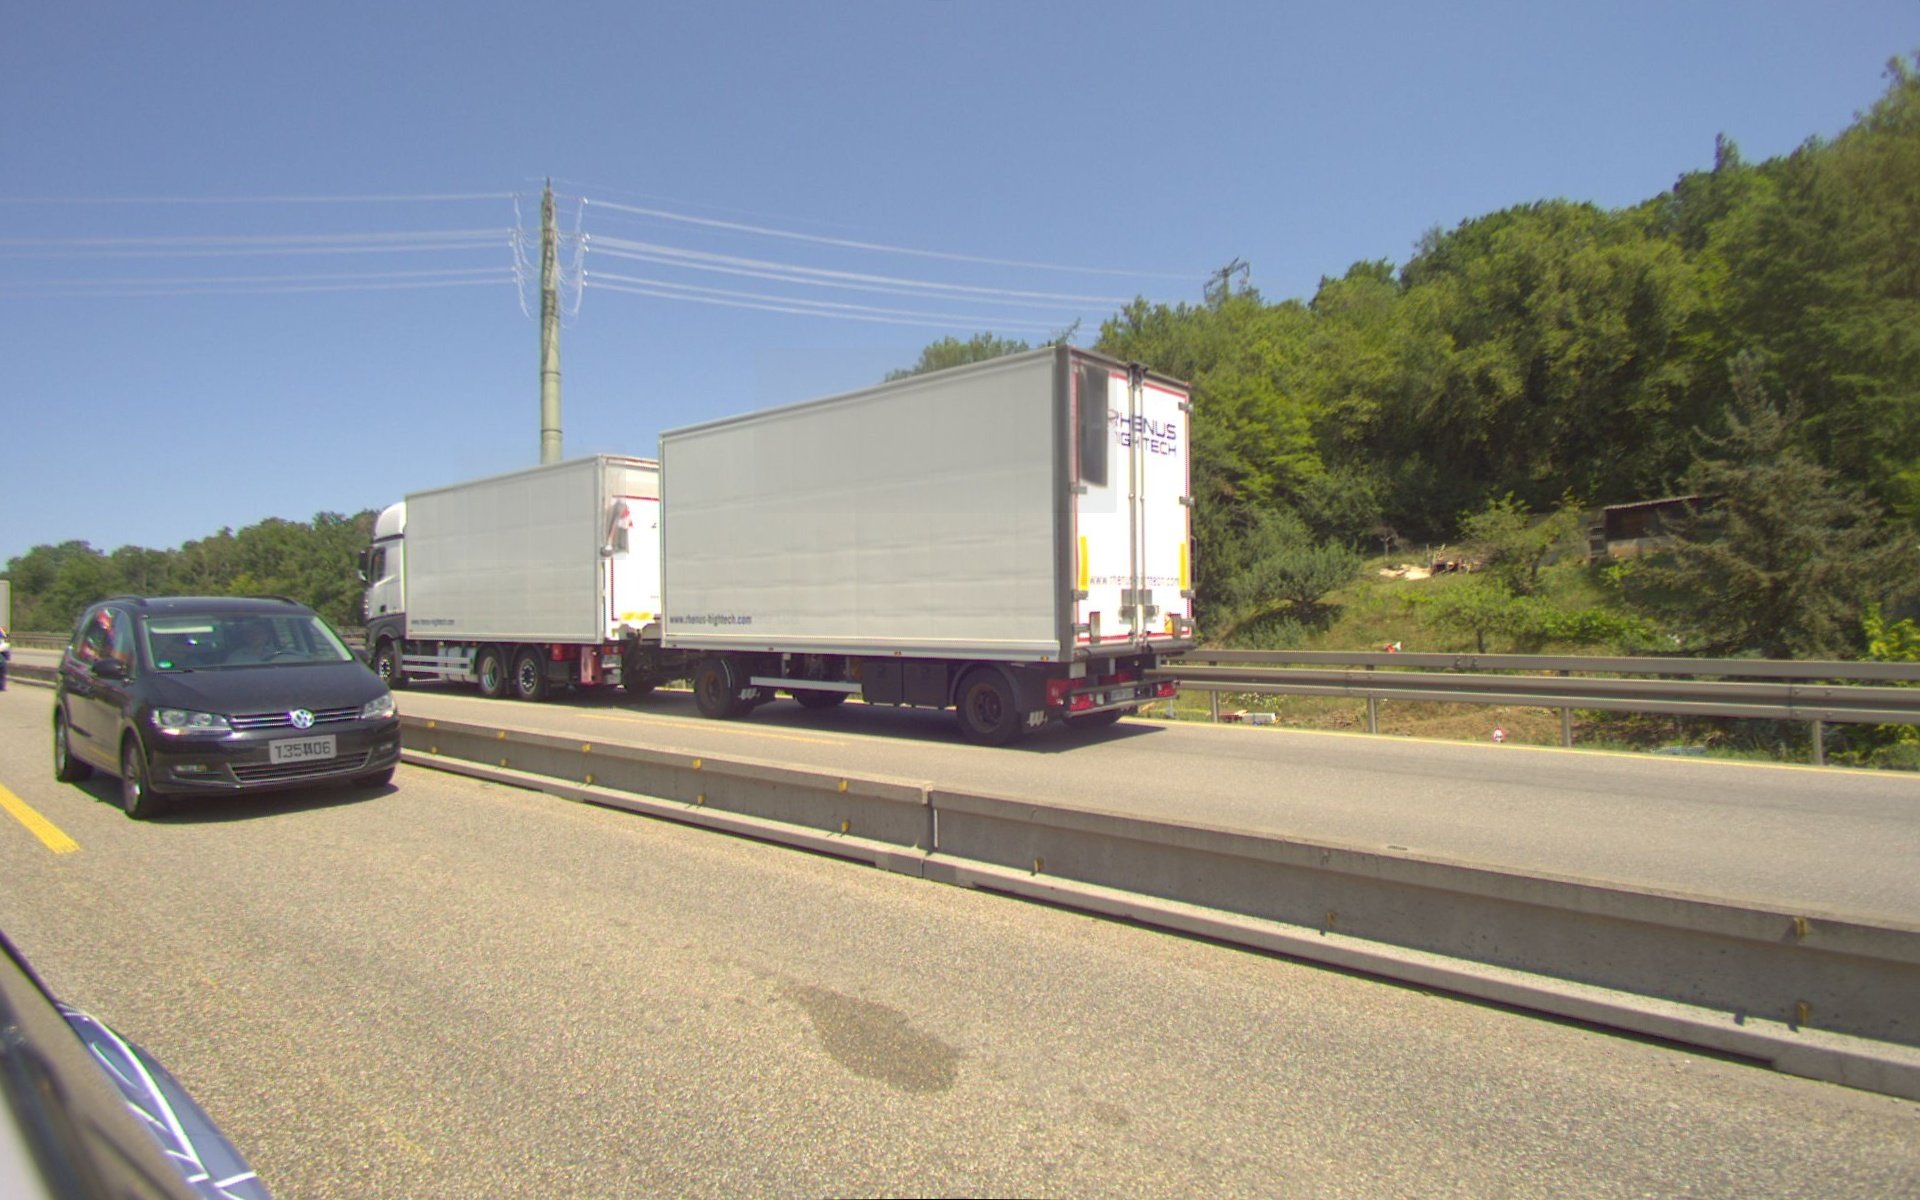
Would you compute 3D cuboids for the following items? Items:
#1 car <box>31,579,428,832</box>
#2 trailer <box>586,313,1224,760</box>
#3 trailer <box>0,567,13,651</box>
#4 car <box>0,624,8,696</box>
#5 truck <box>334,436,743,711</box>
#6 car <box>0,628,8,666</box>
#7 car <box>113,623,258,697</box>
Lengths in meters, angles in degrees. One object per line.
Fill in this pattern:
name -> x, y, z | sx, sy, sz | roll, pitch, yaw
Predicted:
car -> -6.961, 0.791, 9.349 | 5.301, 1.719, 1.837 | -2, -2, 41
trailer -> -1.325, -0.514, 13.592 | 9.012, 4.197, 2.972 | -2, -1, 41
trailer -> -60.032, 0.731, 60.027 | 14.548, 4.677, 2.809 | -2, -2, 36
car -> -23.305, 1.368, 22.979 | 4.780, 1.567, 1.872 | -2, -2, 39
truck -> -8.789, -0.276, 19.981 | 10.536, 4.194, 2.948 | -2, -1, 40
car -> -40.243, 1.947, 41.272 | 4.150, 1.533, 1.566 | -2, -2, 39
car -> -17.712, 1.314, 23.061 | 4.618, 1.490, 1.763 | -2, -1, 41
